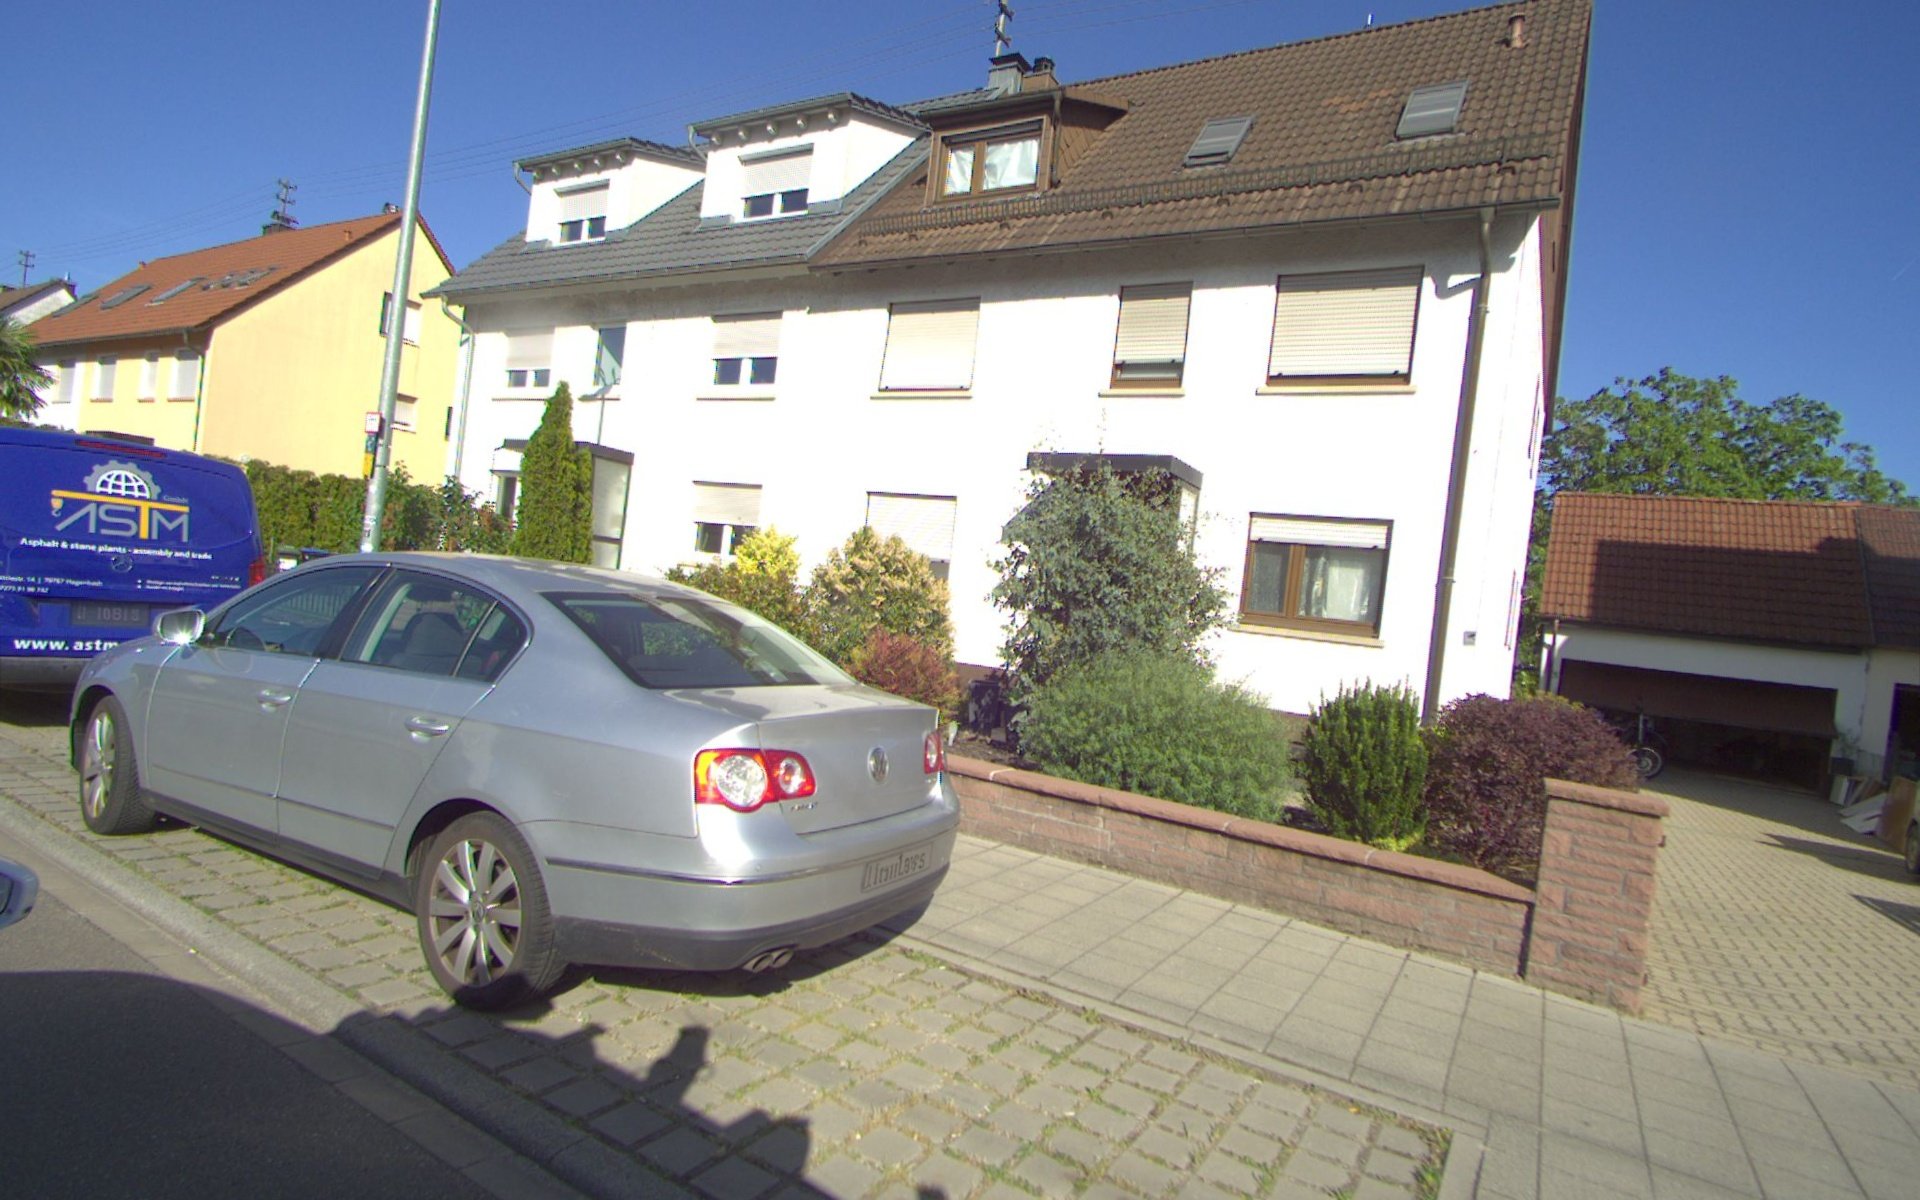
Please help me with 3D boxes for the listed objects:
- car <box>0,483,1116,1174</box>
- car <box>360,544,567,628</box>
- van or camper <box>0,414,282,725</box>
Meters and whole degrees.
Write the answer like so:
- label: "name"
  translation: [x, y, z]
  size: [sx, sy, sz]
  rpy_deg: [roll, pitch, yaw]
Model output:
- label: "car"
  translation: [-2.127, 0.485, 4.509]
  size: [5.194, 1.476, 1.733]
  rpy_deg: [7, 0, 28]
- label: "car"
  translation: [-11.423, -0.266, 23.411]
  size: [1.782, 1.437, 3.892]
  rpy_deg: [7, -1, 28]
- label: "van or camper"
  translation: [-7.838, -0.406, 7.890]
  size: [5.489, 1.870, 1.951]
  rpy_deg: [6, 1, 31]
